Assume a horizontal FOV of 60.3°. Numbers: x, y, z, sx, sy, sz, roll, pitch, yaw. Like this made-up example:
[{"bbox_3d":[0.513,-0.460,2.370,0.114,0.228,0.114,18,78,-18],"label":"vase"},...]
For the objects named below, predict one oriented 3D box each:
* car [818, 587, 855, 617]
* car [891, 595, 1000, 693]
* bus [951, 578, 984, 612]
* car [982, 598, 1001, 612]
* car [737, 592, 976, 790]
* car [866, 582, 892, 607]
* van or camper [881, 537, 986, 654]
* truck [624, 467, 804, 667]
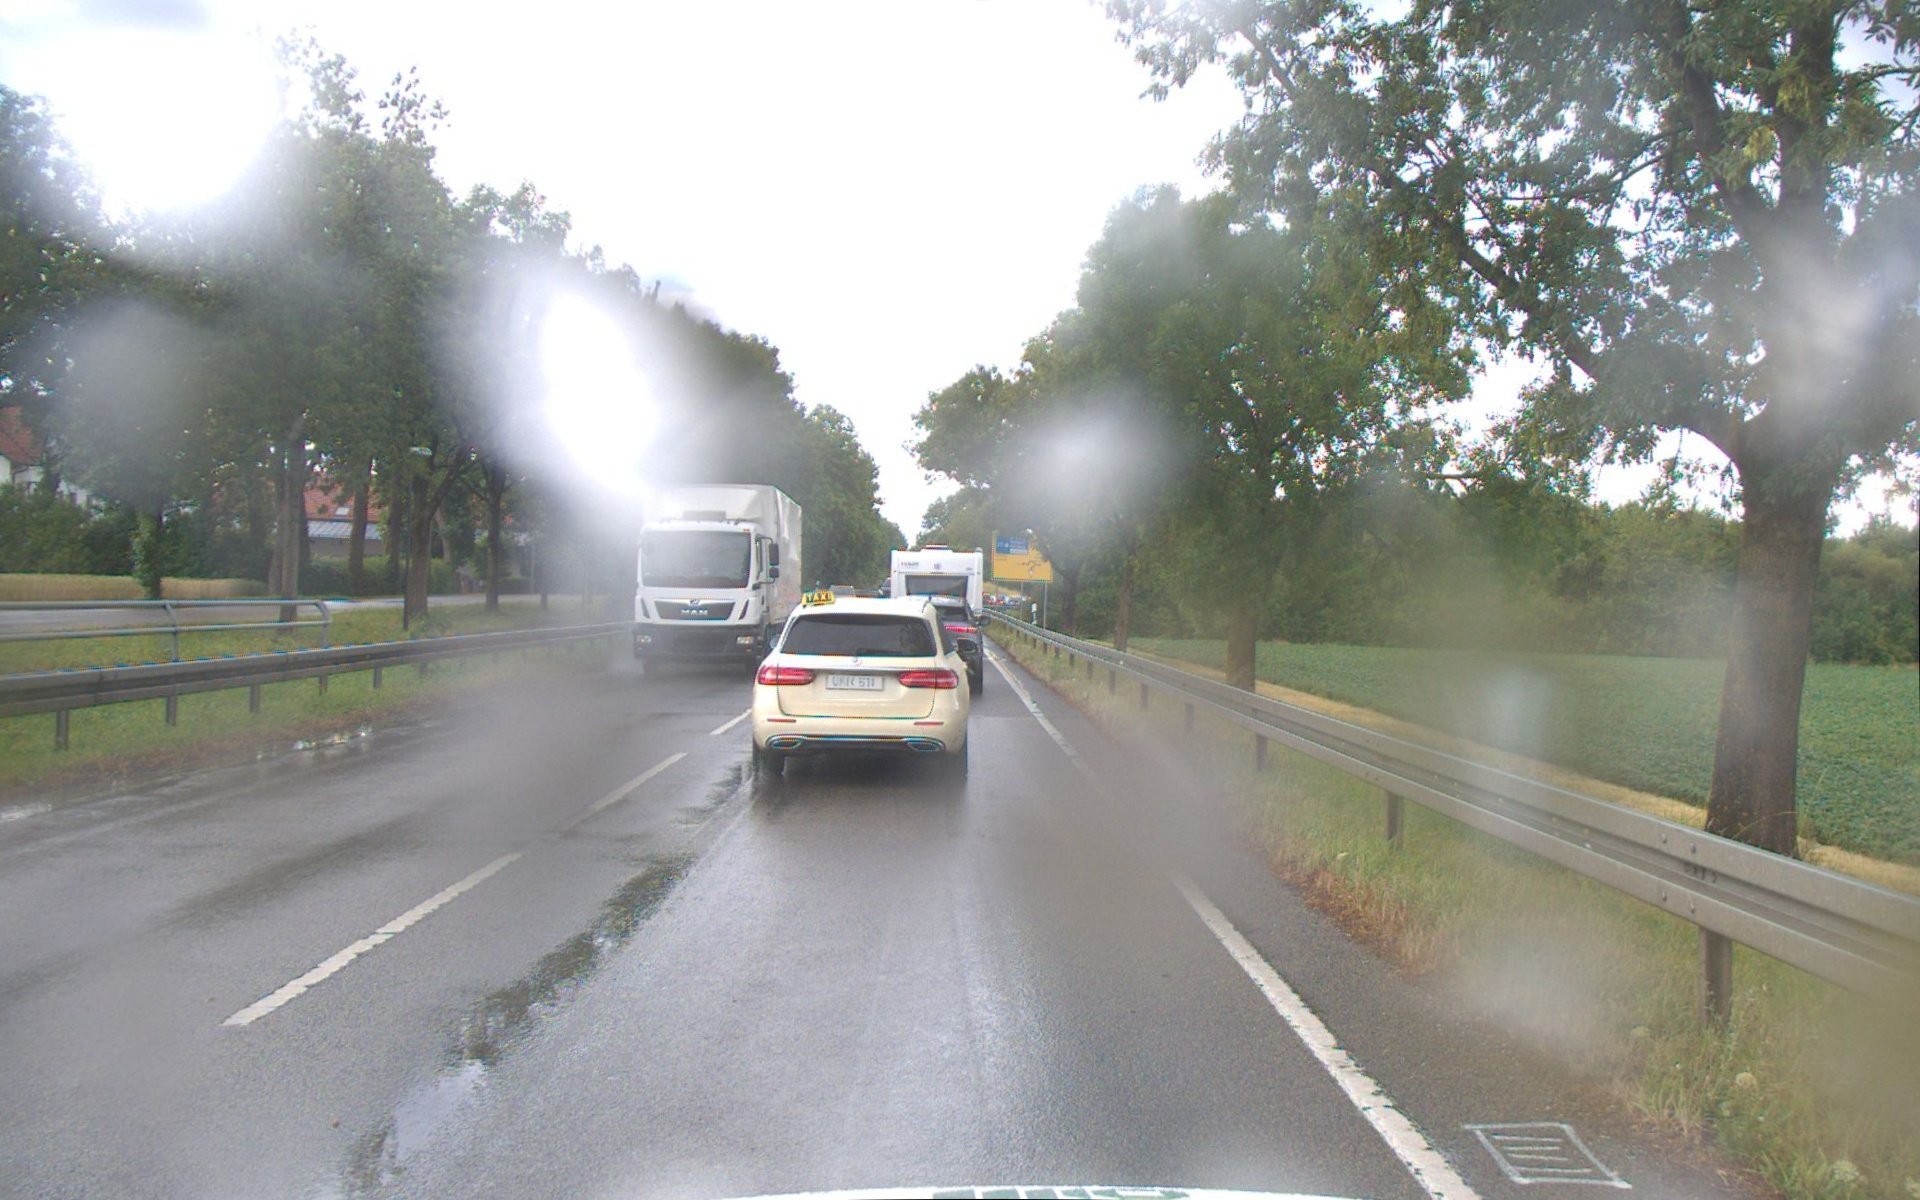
[{"bbox_3d":[-6.404,0.082,85.896,1.679,1.476,4.110,1,0,-1],"label":"car"},{"bbox_3d":[-0.203,0.660,26.998,1.630,1.456,4.000,1,0,0],"label":"car"},{"bbox_3d":[0.450,-0.316,103.393,1.953,2.049,3.999,0,0,-1],"label":"bus"},{"bbox_3d":[2.583,0.406,136.903,1.520,1.138,4.000,1,0,0],"label":"car"},{"bbox_3d":[-0.780,0.692,14.725,1.826,1.502,4.000,1,0,0],"label":"car"},{"bbox_3d":[-5.907,-0.410,121.006,1.791,1.834,4.414,1,0,-1],"label":"car"},{"bbox_3d":[-0.600,-0.111,42.136,2.438,2.732,5.700,1,0,0],"label":"van or camper"},{"bbox_3d":[-4.783,-0.611,33.909,2.524,3.512,9.552,0,0,-2],"label":"truck"}]
